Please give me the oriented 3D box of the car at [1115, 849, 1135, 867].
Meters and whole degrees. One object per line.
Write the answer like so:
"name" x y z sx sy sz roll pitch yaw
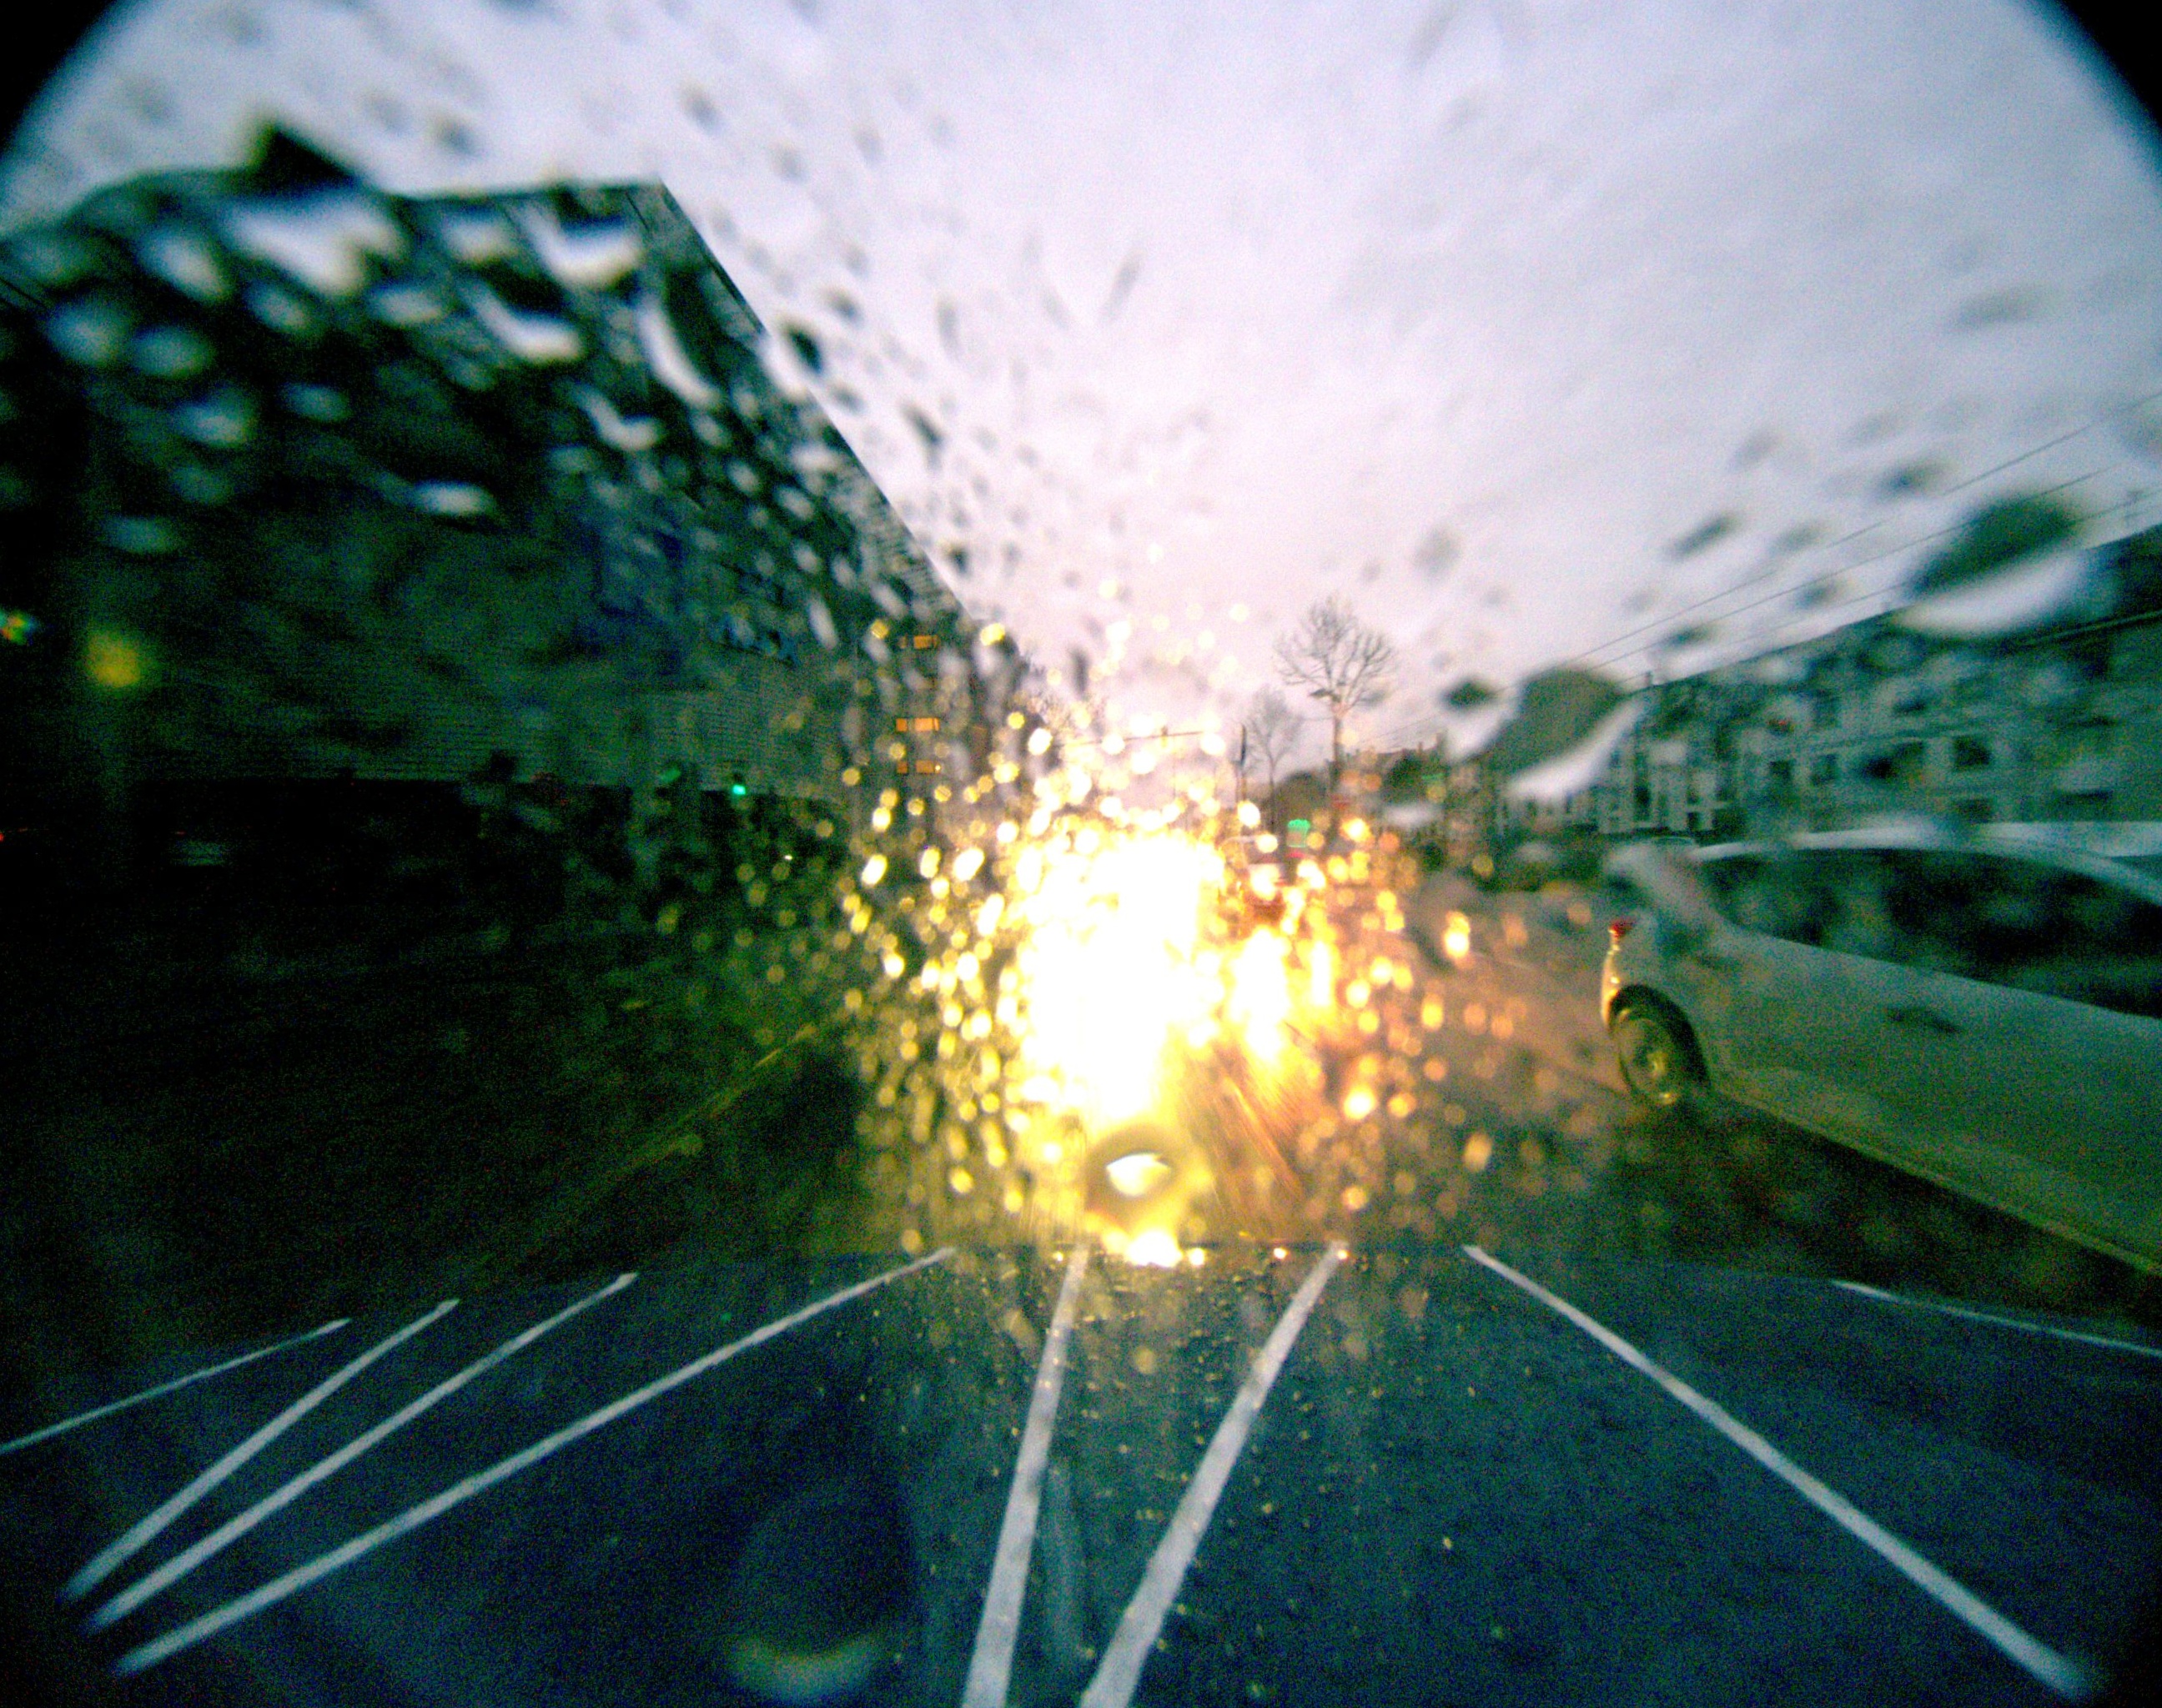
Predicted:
"car" 3.615 0.310 62.898 1.595 1.428 3.804 -2 1 3

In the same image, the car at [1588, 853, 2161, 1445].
"car" 3.736 0.815 2.349 1.712 1.458 3.999 -2 2 1

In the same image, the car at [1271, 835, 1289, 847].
"car" 33.288 -2.200 126.989 1.998 2.002 3.999 -2 2 1

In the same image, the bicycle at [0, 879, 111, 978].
"bicycle" -12.541 0.850 9.061 1.863 1.085 0.856 -1 -1 27

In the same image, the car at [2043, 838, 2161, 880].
"car" 31.342 0.138 22.082 3.988 1.125 1.364 -1 2 39

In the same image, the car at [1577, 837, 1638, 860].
"car" 33.251 -0.358 48.013 3.100 1.376 1.316 -1 1 38

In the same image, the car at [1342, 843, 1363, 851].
"car" 37.880 -0.948 106.021 2.565 0.981 1.257 -1 2 33

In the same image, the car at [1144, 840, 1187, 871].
"car" 4.489 0.061 40.859 1.975 1.493 4.092 -2 1 3

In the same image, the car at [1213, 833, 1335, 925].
"car" 3.982 0.426 16.336 2.020 1.668 4.001 -2 2 7

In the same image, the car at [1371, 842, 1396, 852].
"car" 37.171 -0.887 93.397 2.626 1.100 1.255 -2 2 6

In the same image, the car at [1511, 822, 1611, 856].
"car" 34.269 -1.070 54.344 5.893 2.242 1.825 -1 3 37

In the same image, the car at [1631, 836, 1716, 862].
"car" 32.527 -0.273 41.802 3.599 1.376 1.316 -1 1 34

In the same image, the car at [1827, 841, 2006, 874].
"car" 31.450 0.119 28.796 4.393 1.125 1.250 0 3 37

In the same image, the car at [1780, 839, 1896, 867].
"car" 31.794 -0.059 32.016 3.305 1.125 1.316 0 1 37

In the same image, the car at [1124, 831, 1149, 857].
"car" 4.058 -0.734 55.294 1.729 1.730 4.054 -2 2 4

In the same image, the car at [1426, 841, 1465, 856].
"car" 35.311 -0.501 73.574 3.197 1.309 1.554 -1 2 36

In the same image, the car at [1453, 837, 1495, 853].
"car" 34.979 -0.797 67.611 3.197 1.309 1.554 -1 2 34

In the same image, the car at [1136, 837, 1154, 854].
"car" 6.722 -0.962 79.752 1.728 1.647 3.643 -2 2 3

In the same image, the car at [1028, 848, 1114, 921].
"car" -0.131 0.648 18.101 1.757 1.418 3.803 -2 2 3

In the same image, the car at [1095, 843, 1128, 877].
"car" 1.627 0.306 40.446 1.654 1.673 3.684 -2 0 2

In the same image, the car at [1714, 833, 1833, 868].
"car" 31.891 -0.155 35.143 4.001 1.496 1.315 -1 3 39

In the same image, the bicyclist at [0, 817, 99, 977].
"bicyclist" -12.424 0.496 8.996 0.730 1.811 0.842 -1 -1 26

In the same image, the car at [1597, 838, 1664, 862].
"car" 32.710 -0.233 45.280 3.198 1.376 1.316 -1 1 35
